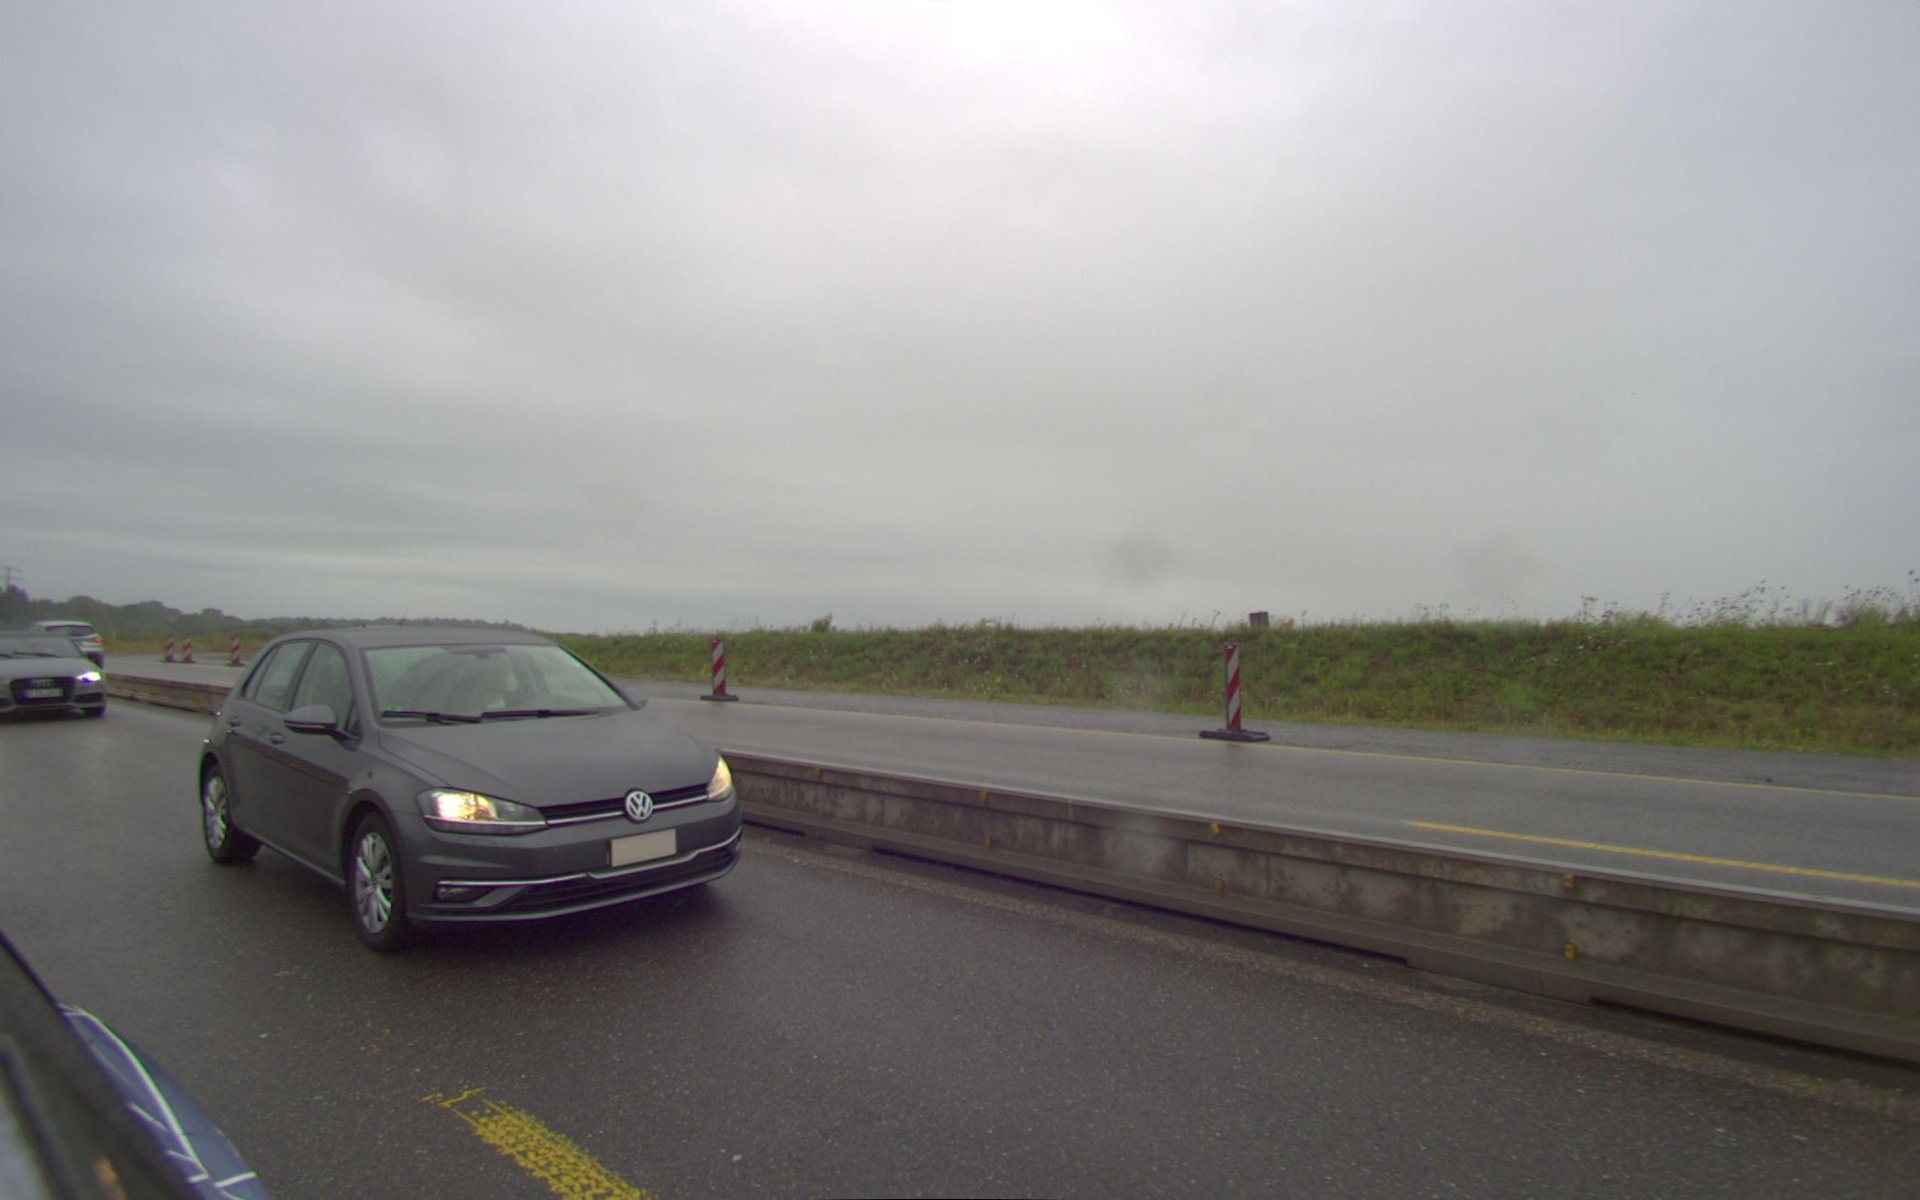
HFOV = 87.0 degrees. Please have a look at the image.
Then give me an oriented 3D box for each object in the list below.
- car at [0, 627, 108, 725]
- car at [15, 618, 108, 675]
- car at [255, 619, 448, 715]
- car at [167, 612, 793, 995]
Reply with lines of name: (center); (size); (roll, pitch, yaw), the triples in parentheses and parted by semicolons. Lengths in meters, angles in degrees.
car: (-15.785, 1.191, 16.899); (4.267, 1.407, 1.776); (-1, 0, 41)
car: (-29.994, 1.498, 33.735); (4.285, 1.737, 1.772); (-1, -1, 41)
car: (-10.729, 1.095, 17.710); (4.459, 1.454, 1.593); (-2, -1, 41)
car: (-2.927, 0.789, 5.750); (4.076, 1.433, 1.633); (-1, -1, 39)
